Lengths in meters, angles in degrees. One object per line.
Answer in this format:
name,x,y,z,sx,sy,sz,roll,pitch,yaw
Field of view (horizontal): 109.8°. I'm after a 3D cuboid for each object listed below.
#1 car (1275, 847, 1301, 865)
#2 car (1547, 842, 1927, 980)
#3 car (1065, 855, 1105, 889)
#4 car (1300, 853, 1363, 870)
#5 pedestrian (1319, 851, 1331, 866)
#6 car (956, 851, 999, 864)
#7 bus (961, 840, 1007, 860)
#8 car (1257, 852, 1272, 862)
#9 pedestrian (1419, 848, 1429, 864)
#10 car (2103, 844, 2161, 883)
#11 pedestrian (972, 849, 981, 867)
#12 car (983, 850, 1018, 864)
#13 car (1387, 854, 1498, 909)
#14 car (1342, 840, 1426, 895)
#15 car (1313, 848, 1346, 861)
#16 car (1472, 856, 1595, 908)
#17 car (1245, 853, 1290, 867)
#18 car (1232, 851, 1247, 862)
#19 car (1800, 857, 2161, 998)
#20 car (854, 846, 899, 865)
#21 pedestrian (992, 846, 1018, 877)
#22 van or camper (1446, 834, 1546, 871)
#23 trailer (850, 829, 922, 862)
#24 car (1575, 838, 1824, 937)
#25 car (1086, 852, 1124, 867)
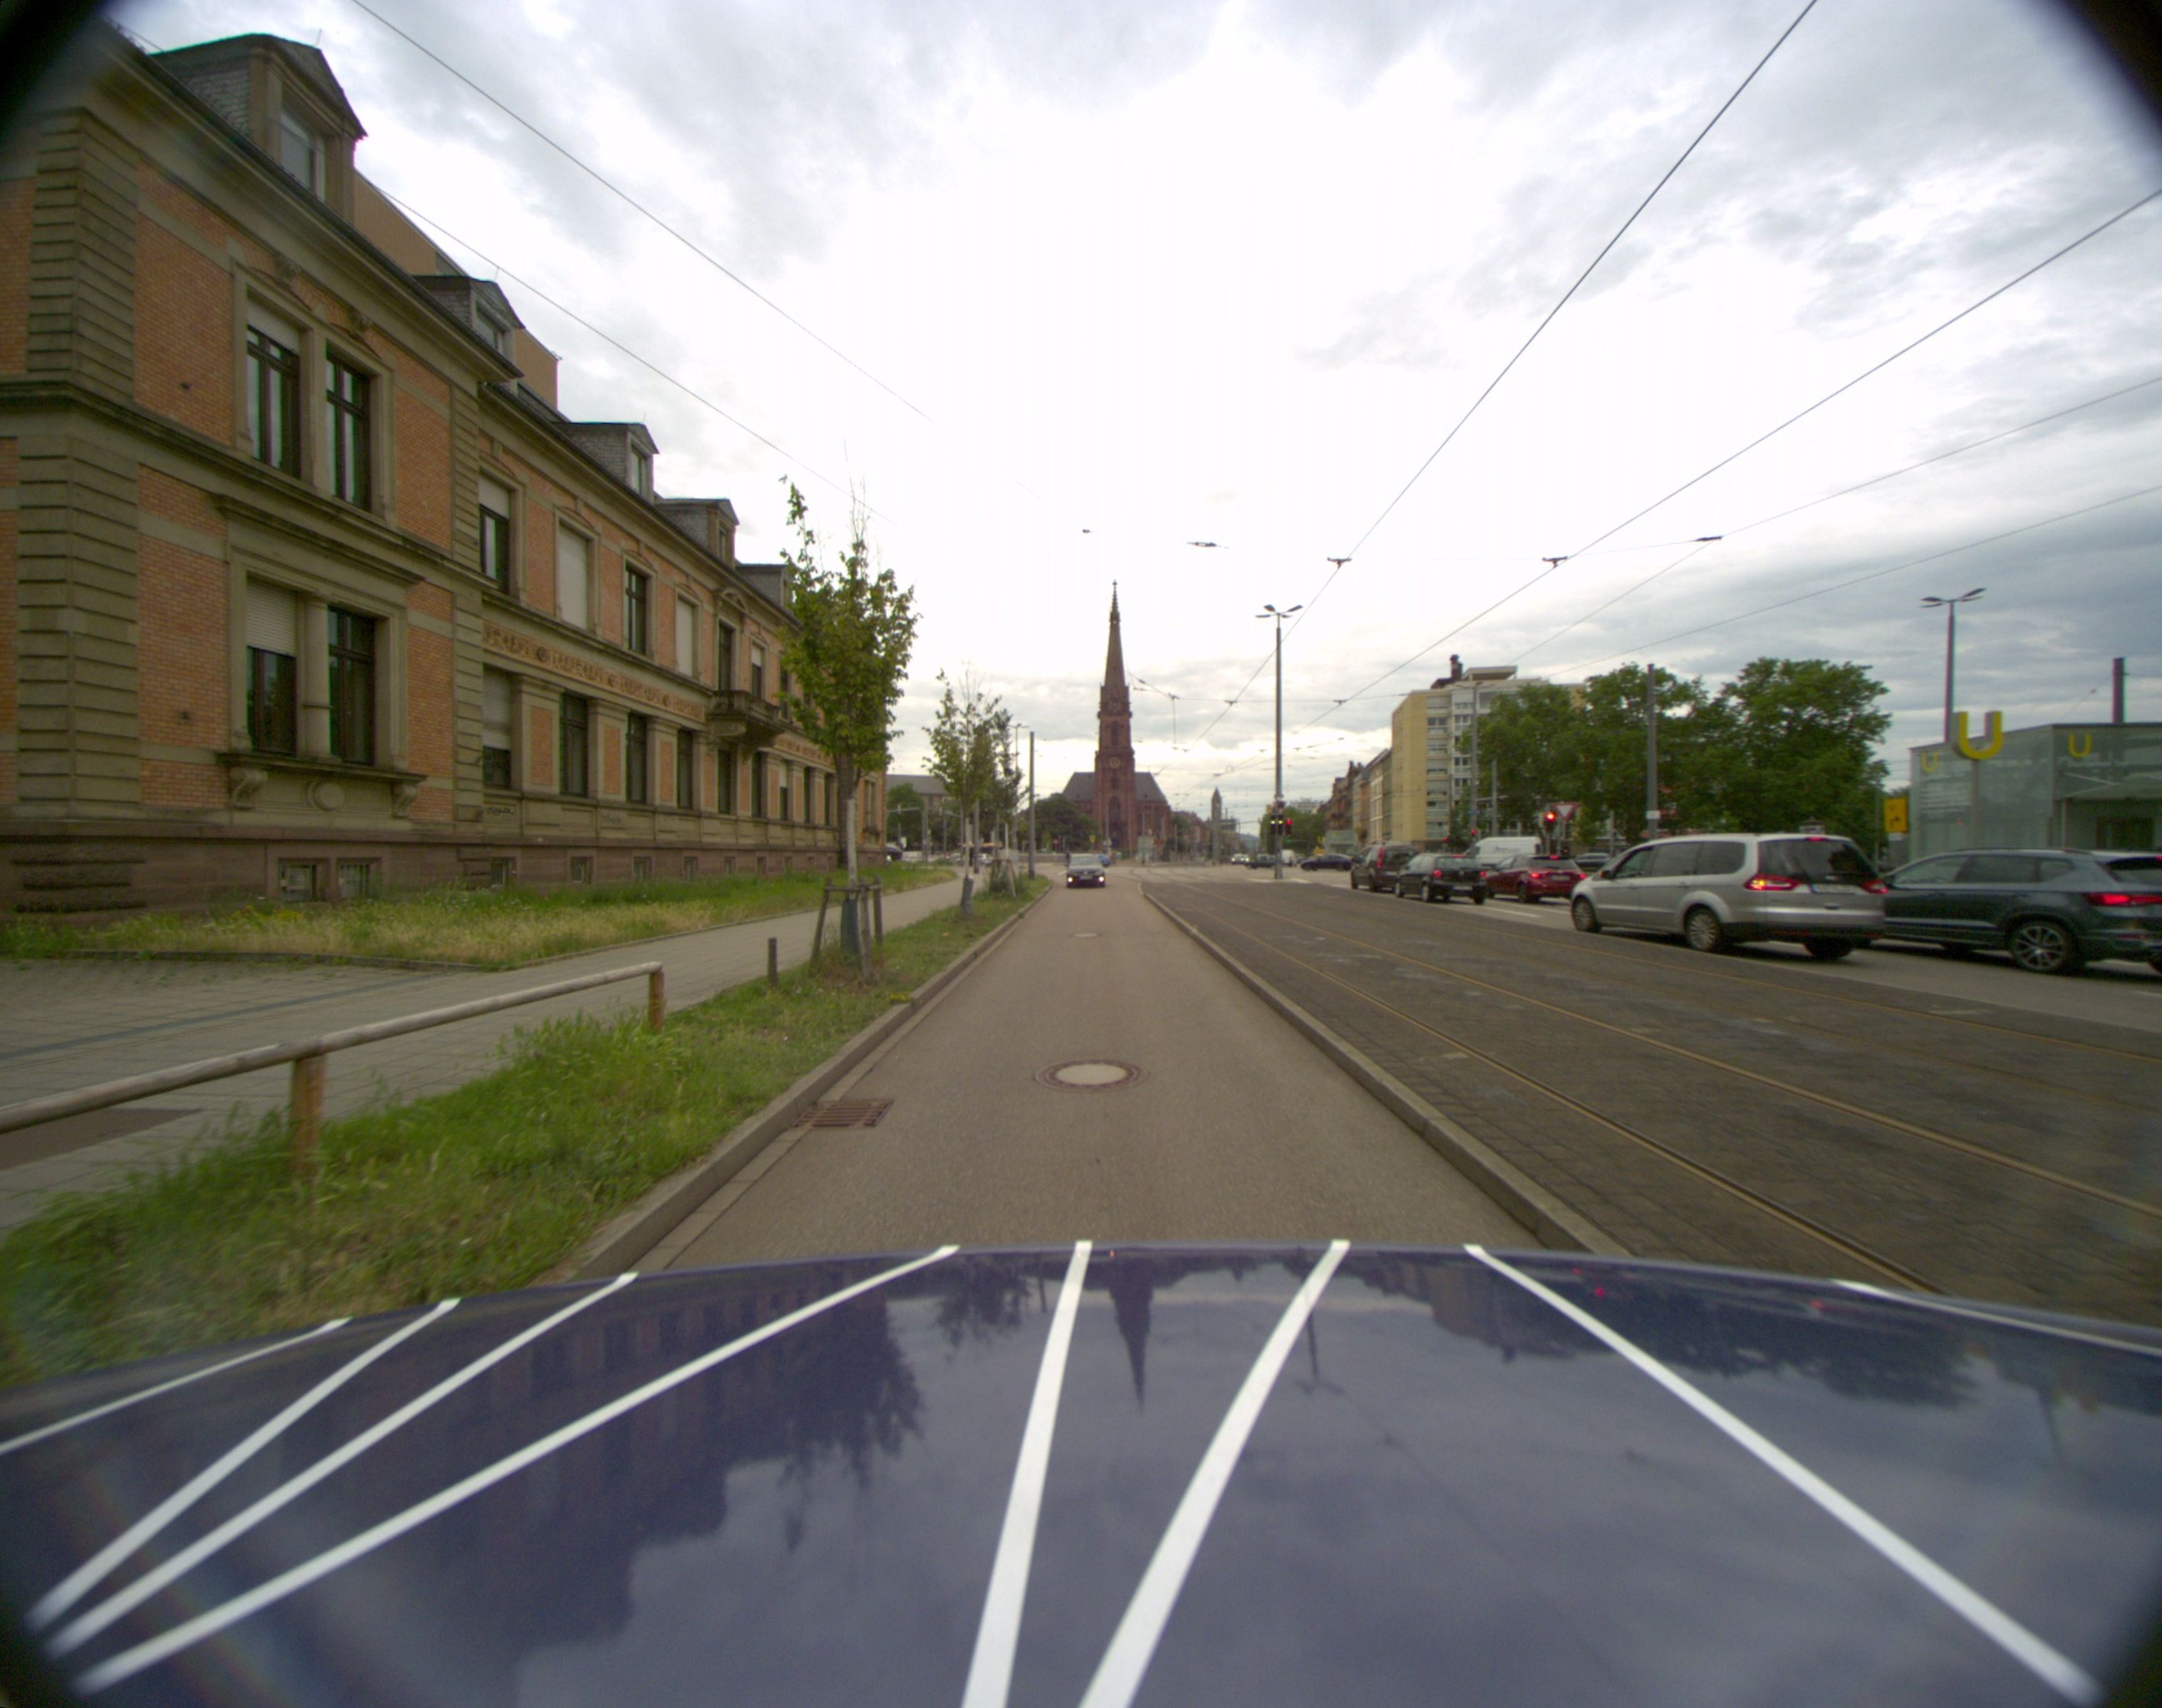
car,23.637,0.210,86.528,1.918,1.872,5.097,1,2,27
car,9.758,0.704,12.026,1.867,1.696,4.909,1,0,2
car,0.174,0.758,33.722,1.655,1.404,4.000,0,0,0
car,21.142,0.609,64.319,2.004,1.412,4.648,0,1,-45
pedestrian,30.359,0.539,94.527,1.178,1.774,1.041,0,1,9
car,-12.282,0.442,90.445,4.669,1.484,2.003,-1,-2,18
bus,-15.960,-0.802,123.972,2.869,3.060,11.989,-1,2,-30
car,25.931,0.372,107.455,1.997,1.433,4.003,0,0,11
pedestrian,38.405,0.208,85.122,0.706,1.710,0.915,0,2,1
car,53.372,0.466,36.242,2.168,1.845,5.432,0,1,-35
pedestrian,-11.211,0.440,81.302,0.782,1.932,0.980,0,1,-22
car,-9.115,0.314,86.131,3.616,1.485,2.001,0,1,6
car,10.664,0.748,22.745,1.692,1.434,4.001,0,1,5
car,11.235,0.435,28.492,1.692,1.889,4.388,0,1,5
car,35.831,0.098,109.554,4.004,1.745,2.077,-1,2,-21
car,13.894,0.793,23.621,1.692,1.434,4.001,0,1,5
car,17.504,0.569,71.421,3.727,1.239,1.695,0,1,31
car,22.548,0.341,108.014,1.997,1.433,4.003,0,0,11
car,12.838,0.851,10.552,1.867,1.525,4.304,2,1,6
car,-21.616,0.176,80.315,4.511,1.930,2.004,0,1,28
pedestrian,-4.675,0.460,46.766,1.282,1.856,0.889,1,1,34
van or camper,30.767,-0.184,56.492,2.428,2.596,6.033,-2,2,-44
trailer,-24.858,-1.104,96.634,9.526,3.951,3.002,1,2,31
car,13.558,0.624,17.191,1.867,1.905,5.103,0,0,6
car,2.666,0.602,83.603,4.054,1.483,2.002,0,-3,5
